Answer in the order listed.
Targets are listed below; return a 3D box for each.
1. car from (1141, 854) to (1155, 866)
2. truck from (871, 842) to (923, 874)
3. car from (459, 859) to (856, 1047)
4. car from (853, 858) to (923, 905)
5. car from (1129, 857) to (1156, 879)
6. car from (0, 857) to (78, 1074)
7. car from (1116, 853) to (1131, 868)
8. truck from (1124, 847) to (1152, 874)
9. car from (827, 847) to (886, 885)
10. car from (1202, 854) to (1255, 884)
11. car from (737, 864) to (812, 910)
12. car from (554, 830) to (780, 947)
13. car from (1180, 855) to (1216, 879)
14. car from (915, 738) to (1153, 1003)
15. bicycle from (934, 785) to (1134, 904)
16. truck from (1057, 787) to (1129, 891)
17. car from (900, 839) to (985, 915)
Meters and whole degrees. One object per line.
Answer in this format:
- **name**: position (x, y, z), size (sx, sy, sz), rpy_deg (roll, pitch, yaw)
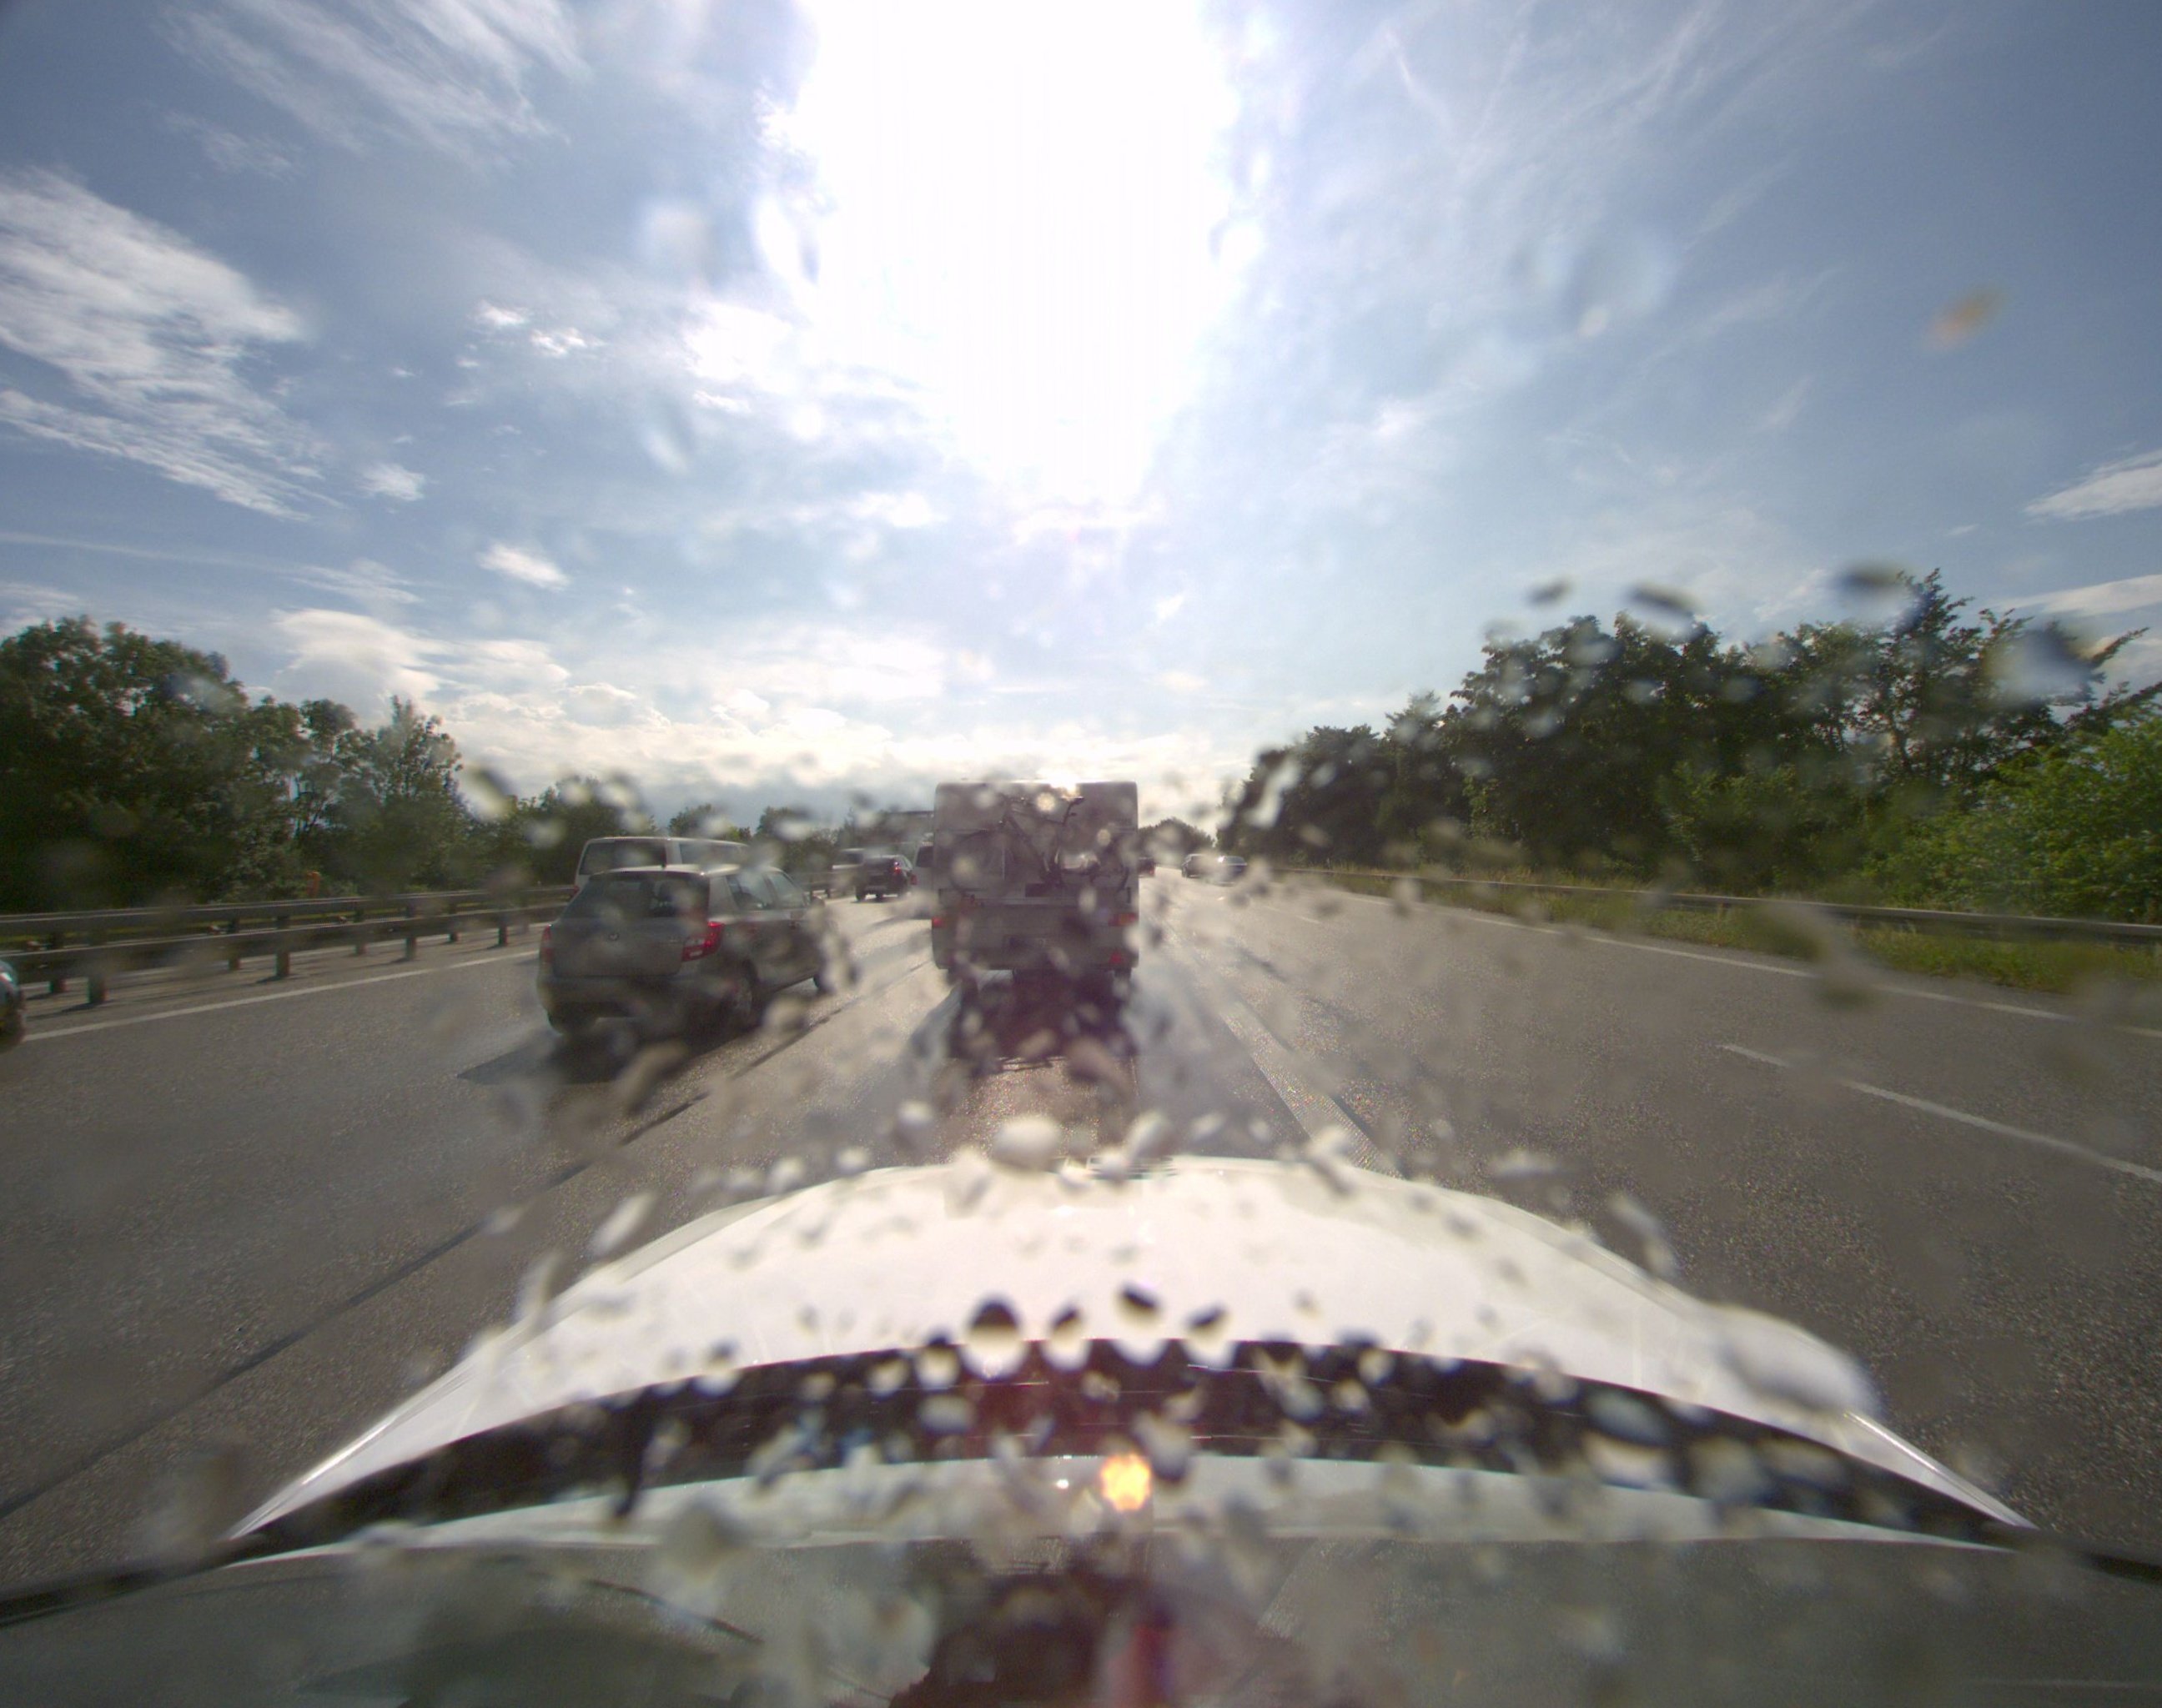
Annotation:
- **car**: position (9.328, 0.808, 114.155), size (1.713, 1.684, 4.002), rpy_deg (-1, 0, 2)
- **truck**: position (-17.879, 0.386, 79.599), size (2.905, 2.987, 8.723), rpy_deg (0, -1, 1)
- **car**: position (-3.908, 0.805, 8.408), size (1.980, 1.458, 3.828), rpy_deg (-1, 0, 2)
- **car**: position (-7.311, 0.994, 31.184), size (1.767, 1.662, 3.998), rpy_deg (0, -1, -1)
- **car**: position (4.554, 1.052, 60.764), size (1.828, 1.558, 4.002), rpy_deg (0, -1, 2)
- **car**: position (-8.800, 0.821, 4.439), size (1.777, 1.578, 3.916), rpy_deg (-1, 0, 1)
- **car**: position (5.103, 0.782, 97.820), size (1.713, 1.684, 4.002), rpy_deg (-1, 0, 2)
- **truck**: position (5.424, 0.623, 78.234), size (2.406, 2.444, 6.055), rpy_deg (-1, 0, 2)
- **car**: position (-14.821, 0.771, 54.212), size (2.106, 2.396, 6.104), rpy_deg (-1, 0, 1)
- **car**: position (7.563, 0.762, 42.214), size (1.872, 1.494, 3.996), rpy_deg (0, -1, -3)
- **car**: position (-14.326, 1.502, 38.268), size (1.987, 1.990, 3.999), rpy_deg (-1, 0, 0)
- **car**: position (-7.865, 0.582, 16.151), size (1.841, 1.934, 5.016), rpy_deg (-1, 0, 1)
- **car**: position (8.378, 0.915, 58.518), size (1.872, 1.629, 3.996), rpy_deg (0, -1, -3)
- **car**: position (-0.414, 0.189, 10.263), size (2.401, 2.674, 4.002), rpy_deg (0, -1, 2)
- **bicycle**: position (-0.449, -0.091, 8.061), size (1.927, 1.141, 0.384), rpy_deg (0, -1, 1)
- **truck**: position (0.572, -0.647, 41.901), size (3.136, 4.626, 10.734), rpy_deg (-1, 0, 0)
- **car**: position (-3.951, 0.634, 23.849), size (1.871, 2.014, 3.998), rpy_deg (0, -1, -1)
